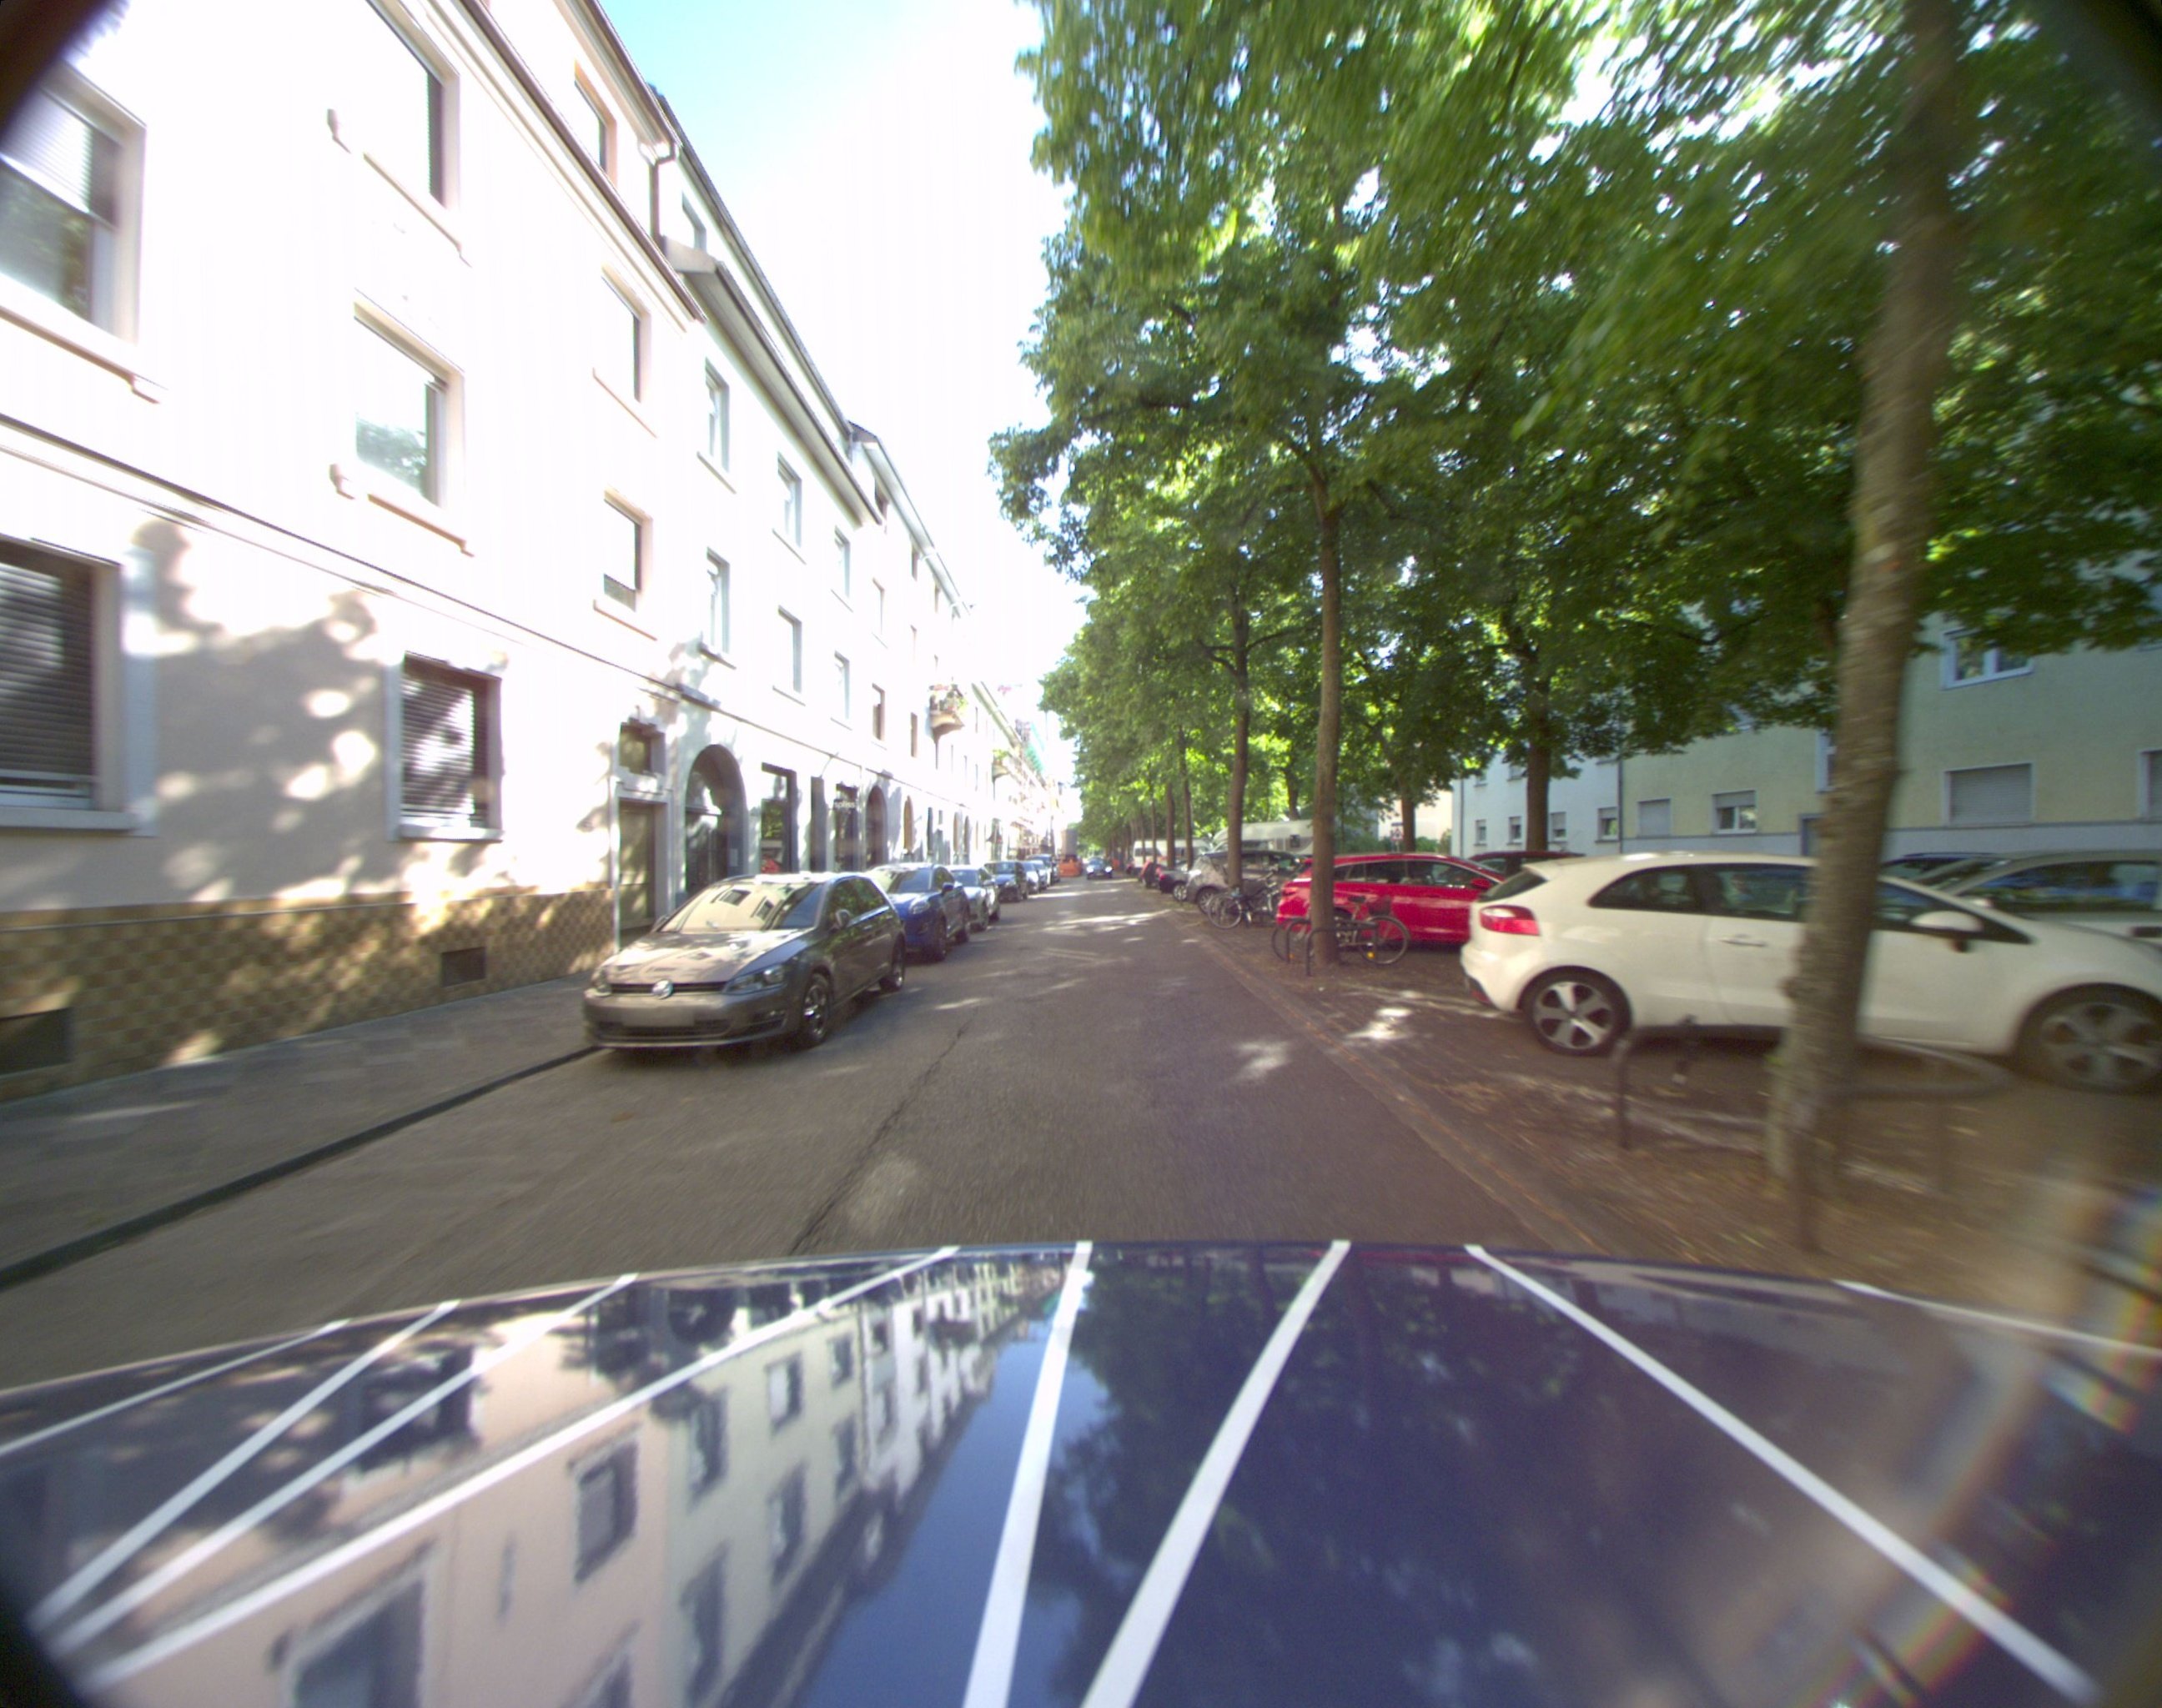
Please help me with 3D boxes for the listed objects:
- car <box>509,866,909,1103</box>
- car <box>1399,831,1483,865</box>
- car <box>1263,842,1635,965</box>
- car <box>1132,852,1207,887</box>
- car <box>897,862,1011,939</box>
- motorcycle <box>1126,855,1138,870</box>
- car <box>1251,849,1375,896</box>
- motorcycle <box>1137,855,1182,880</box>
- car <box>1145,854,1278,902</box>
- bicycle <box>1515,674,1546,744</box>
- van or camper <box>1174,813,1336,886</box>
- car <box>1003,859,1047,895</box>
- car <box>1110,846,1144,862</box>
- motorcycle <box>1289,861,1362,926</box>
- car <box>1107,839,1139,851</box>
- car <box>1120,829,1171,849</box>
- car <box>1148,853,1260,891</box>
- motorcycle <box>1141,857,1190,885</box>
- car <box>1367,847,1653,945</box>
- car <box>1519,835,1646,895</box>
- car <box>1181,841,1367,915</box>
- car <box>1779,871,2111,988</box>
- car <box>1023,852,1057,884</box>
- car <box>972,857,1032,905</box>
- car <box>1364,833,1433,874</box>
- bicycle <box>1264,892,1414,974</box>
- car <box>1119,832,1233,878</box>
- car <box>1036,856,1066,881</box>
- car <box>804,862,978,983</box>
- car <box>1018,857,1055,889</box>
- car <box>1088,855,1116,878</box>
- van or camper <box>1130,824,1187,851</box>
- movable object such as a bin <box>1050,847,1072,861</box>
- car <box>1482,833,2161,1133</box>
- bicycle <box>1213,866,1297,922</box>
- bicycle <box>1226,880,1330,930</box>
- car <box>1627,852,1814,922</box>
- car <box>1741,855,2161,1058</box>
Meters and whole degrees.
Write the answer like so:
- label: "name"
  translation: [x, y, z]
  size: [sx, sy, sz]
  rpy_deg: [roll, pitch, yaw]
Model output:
- label: "car"
  translation: [-3.021, 0.935, 7.238]
  size: [1.696, 1.459, 4.004]
  rpy_deg: [-3, 1, 1]
- label: "car"
  translation: [16.070, -0.268, 34.169]
  size: [1.754, 1.428, 4.081]
  rpy_deg: [0, 0, -1]
- label: "car"
  translation: [5.272, 0.672, 11.271]
  size: [4.617, 1.477, 1.764]
  rpy_deg: [-2, 1, 32]
- label: "car"
  translation: [4.360, 0.720, 37.941]
  size: [1.666, 1.608, 3.871]
  rpy_deg: [-1, 1, -31]
- label: "car"
  translation: [-2.800, 0.979, 17.697]
  size: [1.774, 1.423, 4.290]
  rpy_deg: [-2, 1, 1]
- label: "motorcycle"
  translation: [4.575, 0.735, 68.312]
  size: [0.631, 1.317, 2.231]
  rpy_deg: [0, 0, 16]
- label: "car"
  translation: [8.266, 0.665, 27.066]
  size: [3.990, 1.477, 1.833]
  rpy_deg: [-2, 1, 24]
- label: "motorcycle"
  translation: [4.357, 0.729, 42.188]
  size: [2.326, 1.327, 0.968]
  rpy_deg: [0, 1, -8]
- label: "car"
  translation: [4.263, 0.744, 25.083]
  size: [4.008, 1.465, 1.630]
  rpy_deg: [0, 1, 36]
- label: "bicycle"
  translation: [9.571, -3.052, 16.210]
  size: [0.355, 1.193, 1.804]
  rpy_deg: [-3, 1, 25]
- label: "van or camper"
  translation: [7.455, -0.166, 32.853]
  size: [6.290, 2.809, 2.412]
  rpy_deg: [-2, 1, 30]
- label: "car"
  translation: [-2.436, 0.971, 33.659]
  size: [1.603, 1.484, 3.966]
  rpy_deg: [0, 0, 1]
- label: "car"
  translation: [6.303, -0.045, 104.652]
  size: [4.386, 2.155, 1.774]
  rpy_deg: [0, 1, 28]
- label: "motorcycle"
  translation: [5.112, 0.799, 15.854]
  size: [1.518, 1.248, 0.642]
  rpy_deg: [-2, 1, -36]
- label: "car"
  translation: [5.256, -1.126, 95.240]
  size: [3.559, 1.240, 1.661]
  rpy_deg: [-3, 0, 31]
- label: "car"
  translation: [8.390, -1.929, 98.758]
  size: [6.186, 2.497, 2.142]
  rpy_deg: [0, 1, 28]
- label: "car"
  translation: [5.024, 0.741, 31.163]
  size: [4.146, 1.417, 1.718]
  rpy_deg: [-1, 2, 33]
- label: "motorcycle"
  translation: [3.881, 0.776, 34.723]
  size: [2.151, 1.223, 0.882]
  rpy_deg: [-2, 1, 10]
- label: "car"
  translation: [7.401, 0.687, 13.423]
  size: [4.105, 1.464, 1.875]
  rpy_deg: [-2, 1, 30]
- label: "car"
  translation: [15.457, 0.319, 23.652]
  size: [1.478, 1.667, 3.600]
  rpy_deg: [2, 0, -1]
- label: "car"
  translation: [4.790, 0.595, 18.908]
  size: [4.079, 1.643, 1.866]
  rpy_deg: [-2, 1, 28]
- label: "car"
  translation: [15.562, 1.249, 14.047]
  size: [1.705, 1.743, 3.837]
  rpy_deg: [-1, 0, -2]
- label: "car"
  translation: [-2.369, 0.782, 44.761]
  size: [1.775, 1.783, 3.989]
  rpy_deg: [-1, 1, 0]
- label: "car"
  translation: [-2.805, 0.917, 27.760]
  size: [1.584, 1.542, 4.042]
  rpy_deg: [-2, 1, 2]
- label: "car"
  translation: [16.622, -0.037, 40.010]
  size: [1.998, 2.002, 4.000]
  rpy_deg: [-1, 1, 1]
- label: "bicycle"
  translation: [3.342, 1.005, 9.943]
  size: [1.813, 0.988, 0.426]
  rpy_deg: [0, 1, 16]
- label: "car"
  translation: [5.640, 0.099, 45.597]
  size: [6.311, 2.544, 2.342]
  rpy_deg: [-2, 1, 33]
- label: "car"
  translation: [-1.923, 0.916, 49.987]
  size: [1.709, 1.503, 4.283]
  rpy_deg: [-1, 1, 1]
- label: "car"
  translation: [-2.972, 0.997, 12.855]
  size: [1.771, 1.543, 4.183]
  rpy_deg: [-3, 1, 0]
- label: "car"
  translation: [-2.241, 0.930, 38.978]
  size: [1.611, 1.412, 4.568]
  rpy_deg: [-1, 1, 0]
- label: "car"
  translation: [1.538, 0.876, 53.424]
  size: [1.792, 1.510, 4.001]
  rpy_deg: [-1, 0, 4]
- label: "van or camper"
  translation: [8.852, -1.823, 87.024]
  size: [6.017, 2.984, 2.404]
  rpy_deg: [0, 1, 30]
- label: "movable object such as a bin"
  translation: [-2.293, -0.029, 86.676]
  size: [1.872, 1.518, 1.631]
  rpy_deg: [0, 1, 35]
- label: "car"
  translation: [5.021, 0.736, 5.457]
  size: [3.685, 1.587, 1.775]
  rpy_deg: [-2, 1, 26]
- label: "bicycle"
  translation: [3.741, 0.864, 16.392]
  size: [1.687, 1.152, 0.379]
  rpy_deg: [-2, 1, 21]
- label: "bicycle"
  translation: [3.850, 1.004, 14.904]
  size: [1.900, 0.913, 0.379]
  rpy_deg: [-2, 1, 21]
- label: "car"
  translation: [15.761, 0.737, 18.995]
  size: [1.620, 1.566, 3.579]
  rpy_deg: [0, 0, -1]
- label: "car"
  translation: [8.239, 0.752, 6.306]
  size: [3.989, 1.427, 1.801]
  rpy_deg: [-1, 0, 35]
